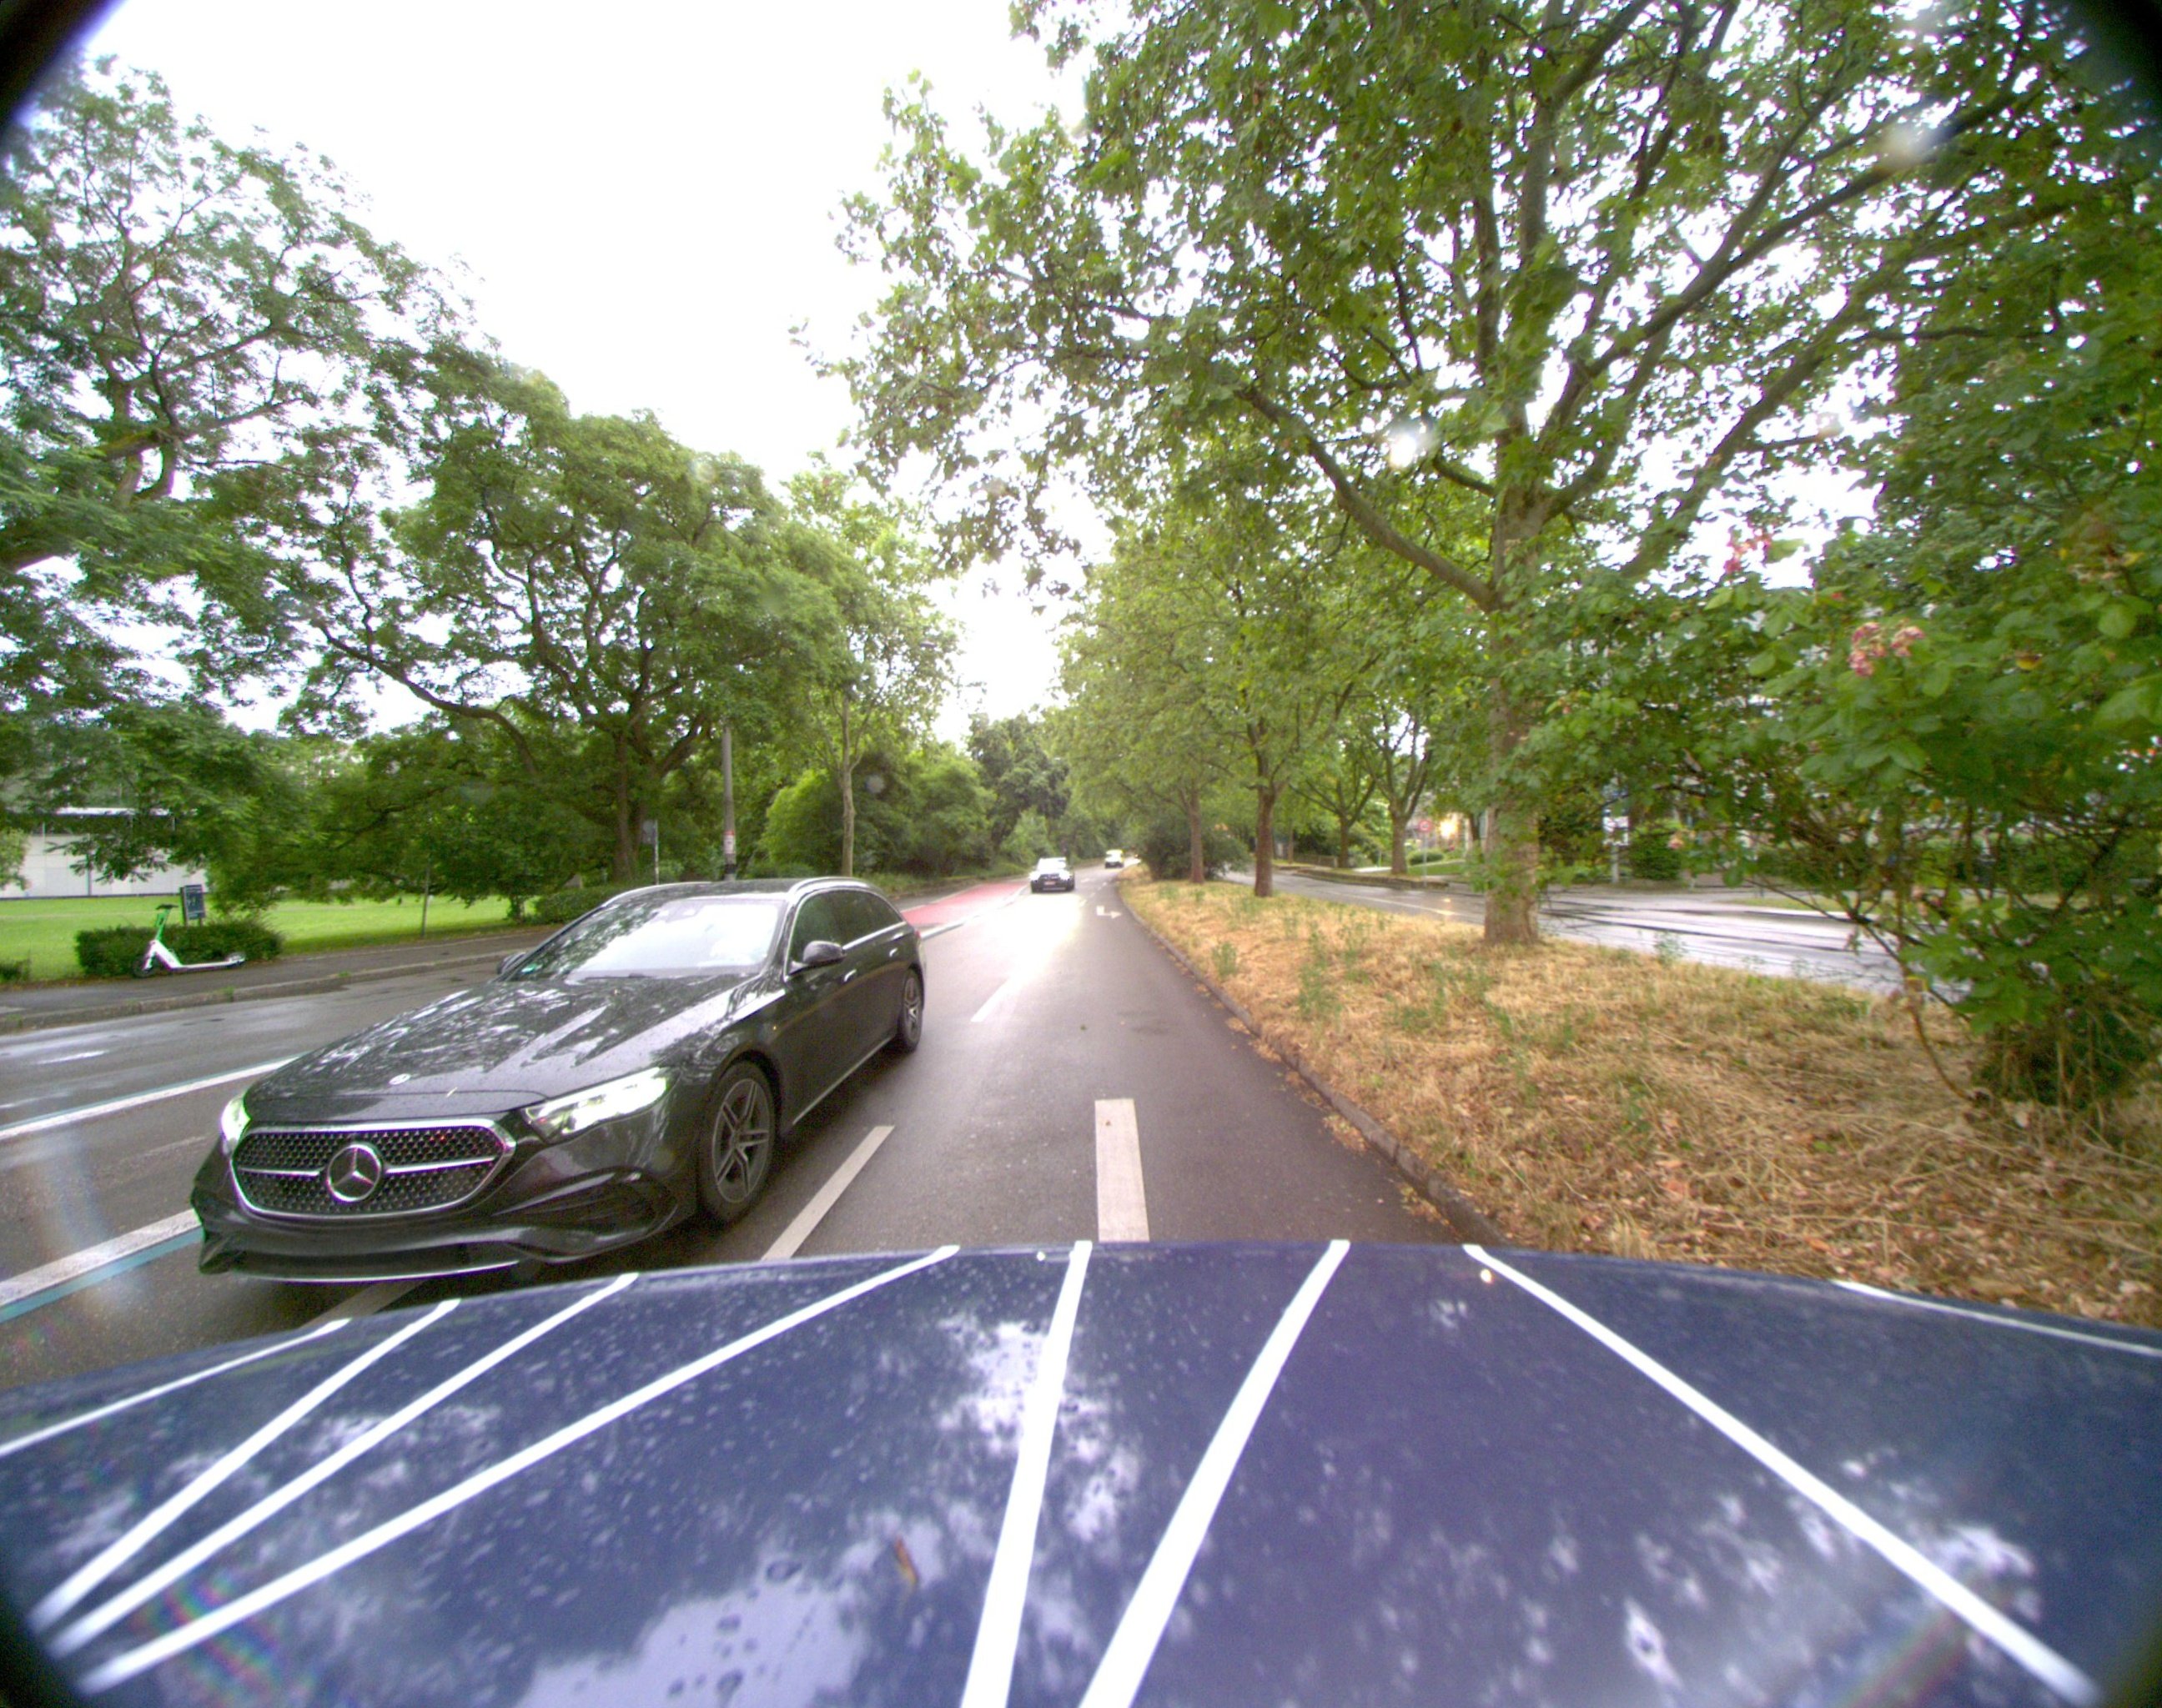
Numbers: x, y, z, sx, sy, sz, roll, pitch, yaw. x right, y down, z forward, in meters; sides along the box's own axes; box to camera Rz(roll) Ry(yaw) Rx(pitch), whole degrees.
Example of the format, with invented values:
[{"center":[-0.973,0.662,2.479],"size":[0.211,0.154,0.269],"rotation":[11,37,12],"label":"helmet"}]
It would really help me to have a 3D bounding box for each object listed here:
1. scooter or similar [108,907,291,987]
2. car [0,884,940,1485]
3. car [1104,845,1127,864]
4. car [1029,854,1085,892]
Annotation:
[{"center":[-14.547,1.491,12.620],"size":[0.557,1.095,1.894],"rotation":[2,0,22],"label":"scooter or similar"},{"center":[-2.374,1.042,4.591],"size":[1.884,1.437,4.931],"rotation":[-3,0,2],"label":"car"},{"center":[3.682,0.019,81.021],"size":[1.883,1.865,4.744],"rotation":[-3,0,9],"label":"car"},{"center":[-1.108,0.876,37.888],"size":[1.832,1.599,4.579],"rotation":[-2,1,10],"label":"car"}]
